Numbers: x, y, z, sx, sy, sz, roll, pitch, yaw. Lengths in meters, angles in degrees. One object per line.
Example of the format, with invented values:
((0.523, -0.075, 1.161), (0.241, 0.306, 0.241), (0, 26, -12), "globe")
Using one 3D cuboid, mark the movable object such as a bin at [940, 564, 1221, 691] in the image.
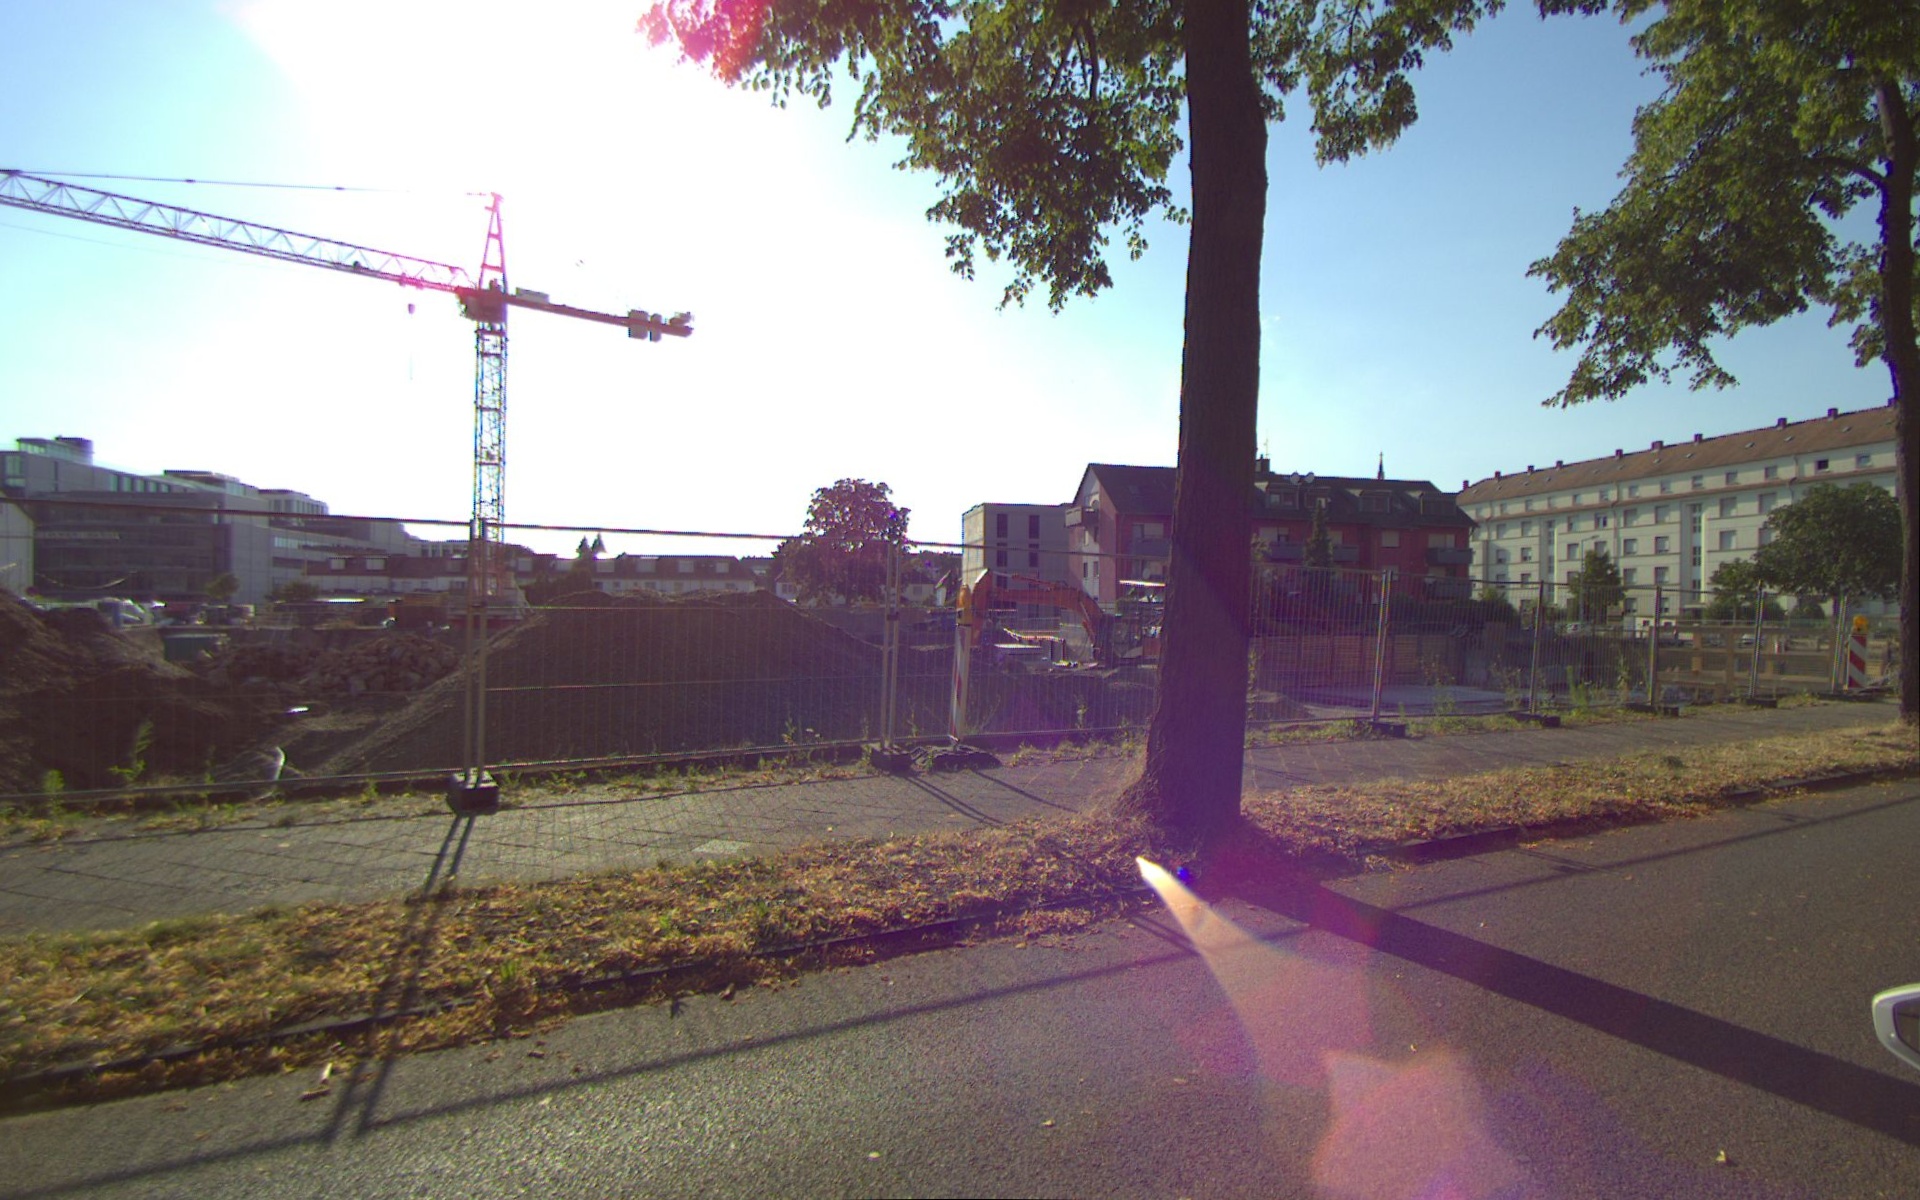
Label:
((4.973, 1.163, 42.399), (11.347, 5.058, 3.017), (0, -3, -8), "movable object such as a bin")
